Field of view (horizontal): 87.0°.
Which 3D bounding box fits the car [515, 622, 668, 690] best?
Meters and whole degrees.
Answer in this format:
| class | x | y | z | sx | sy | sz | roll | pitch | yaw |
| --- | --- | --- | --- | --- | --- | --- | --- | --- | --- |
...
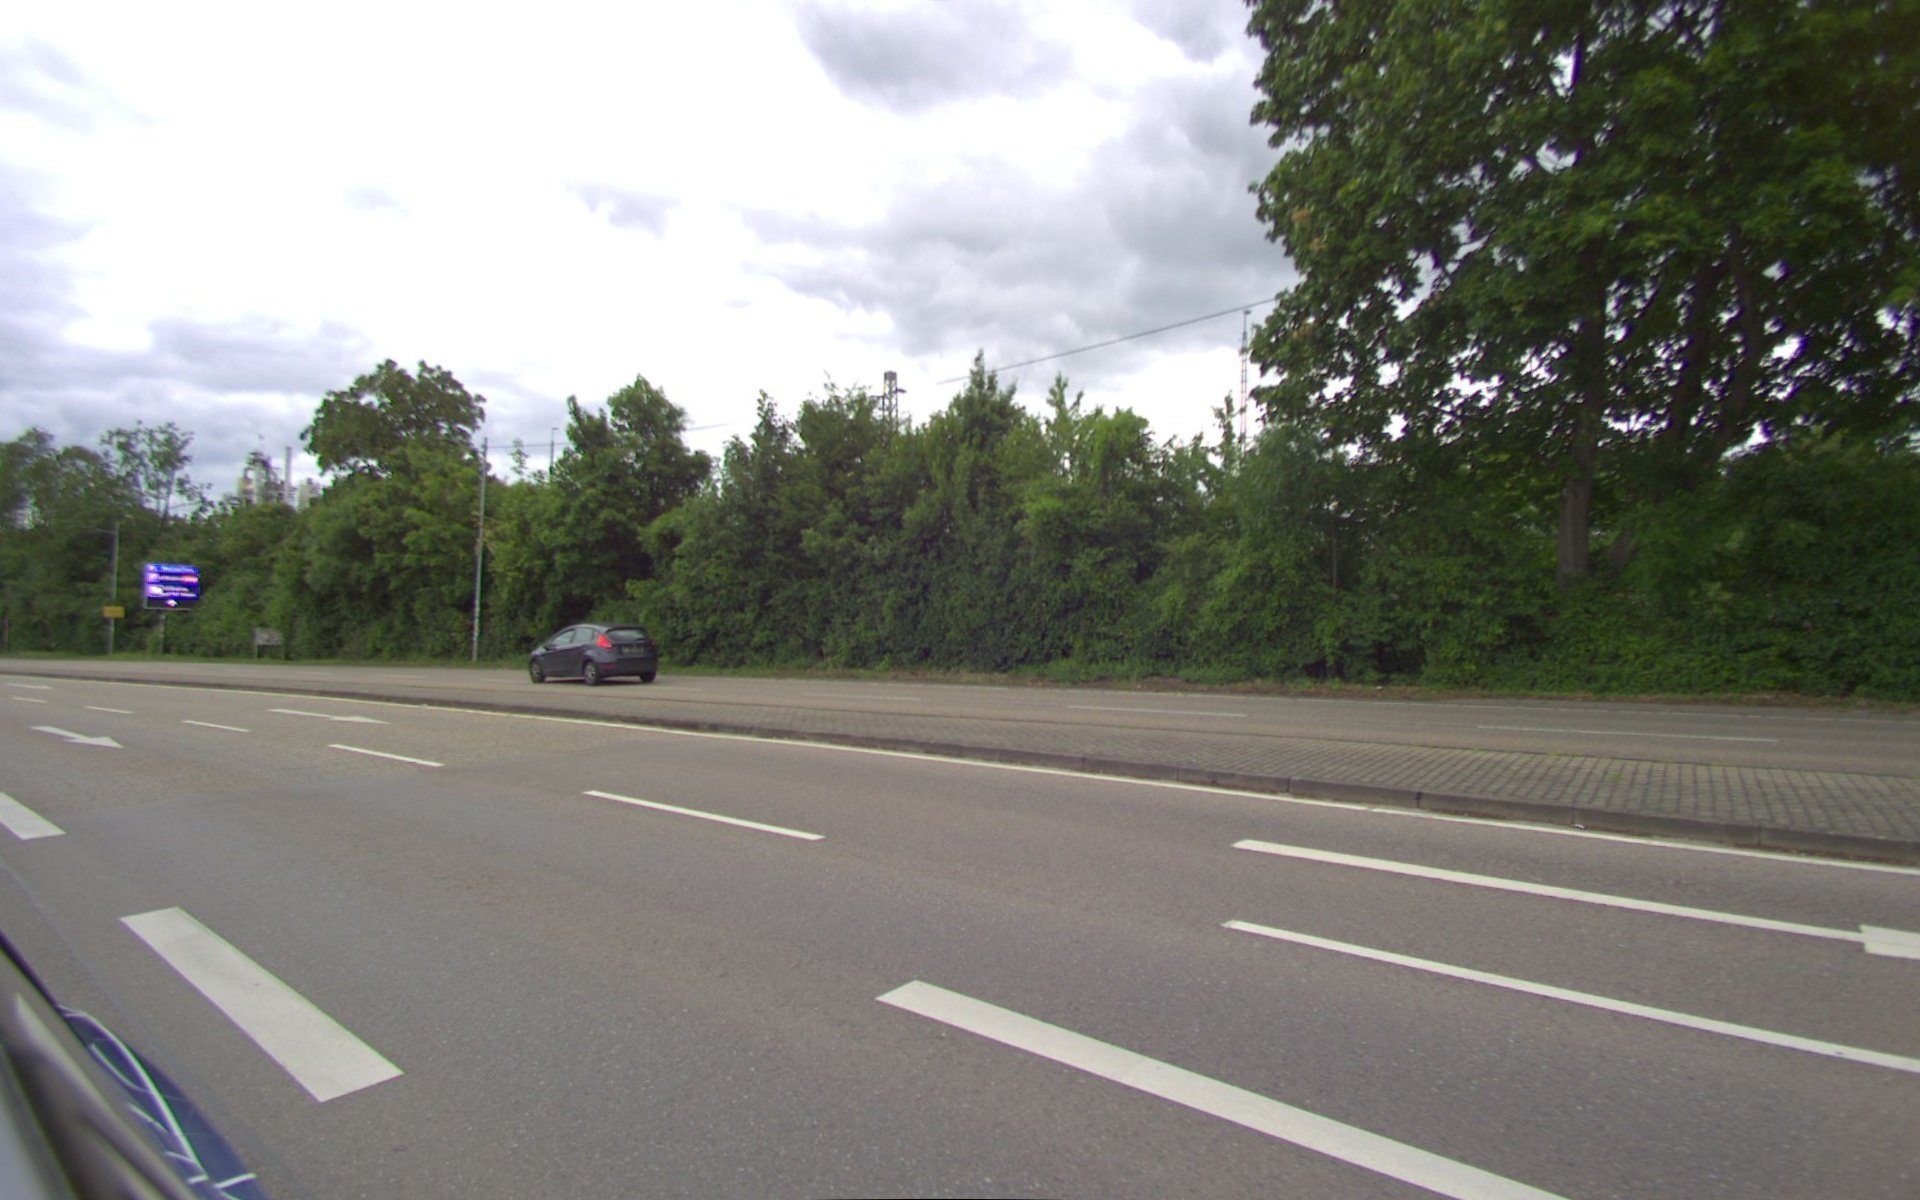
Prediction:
| class | x | y | z | sx | sy | sz | roll | pitch | yaw |
| --- | --- | --- | --- | --- | --- | --- | --- | --- | --- |
| car | -9.014 | 1.311 | 24.623 | 3.996 | 1.475 | 1.682 | -1 | 0 | 39 |
